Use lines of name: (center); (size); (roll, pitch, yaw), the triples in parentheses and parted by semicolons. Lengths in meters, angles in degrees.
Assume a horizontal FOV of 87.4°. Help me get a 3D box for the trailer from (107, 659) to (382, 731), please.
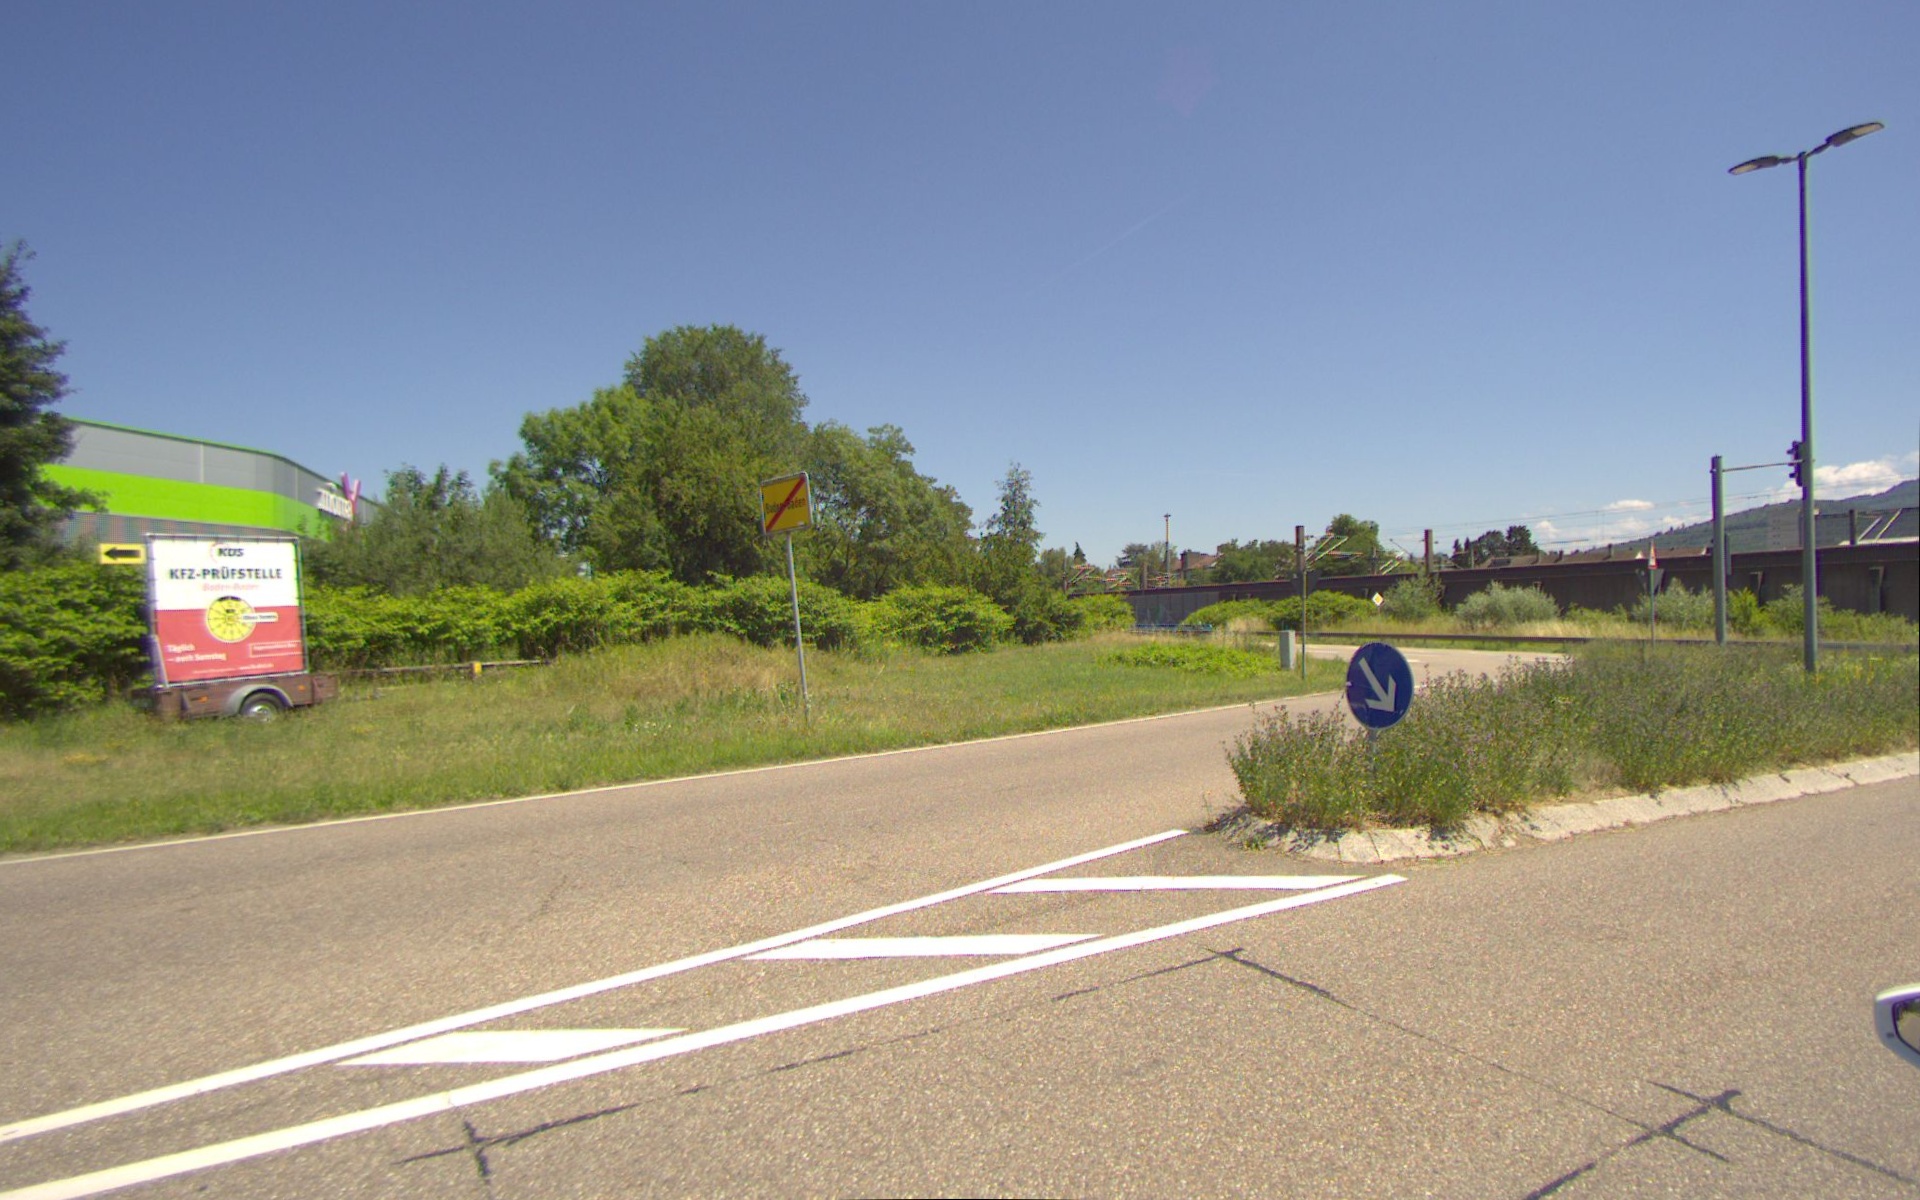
trailer: (-10.151, 1.302, 14.425); (1.537, 0.748, 2.849); (0, 0, 27)
